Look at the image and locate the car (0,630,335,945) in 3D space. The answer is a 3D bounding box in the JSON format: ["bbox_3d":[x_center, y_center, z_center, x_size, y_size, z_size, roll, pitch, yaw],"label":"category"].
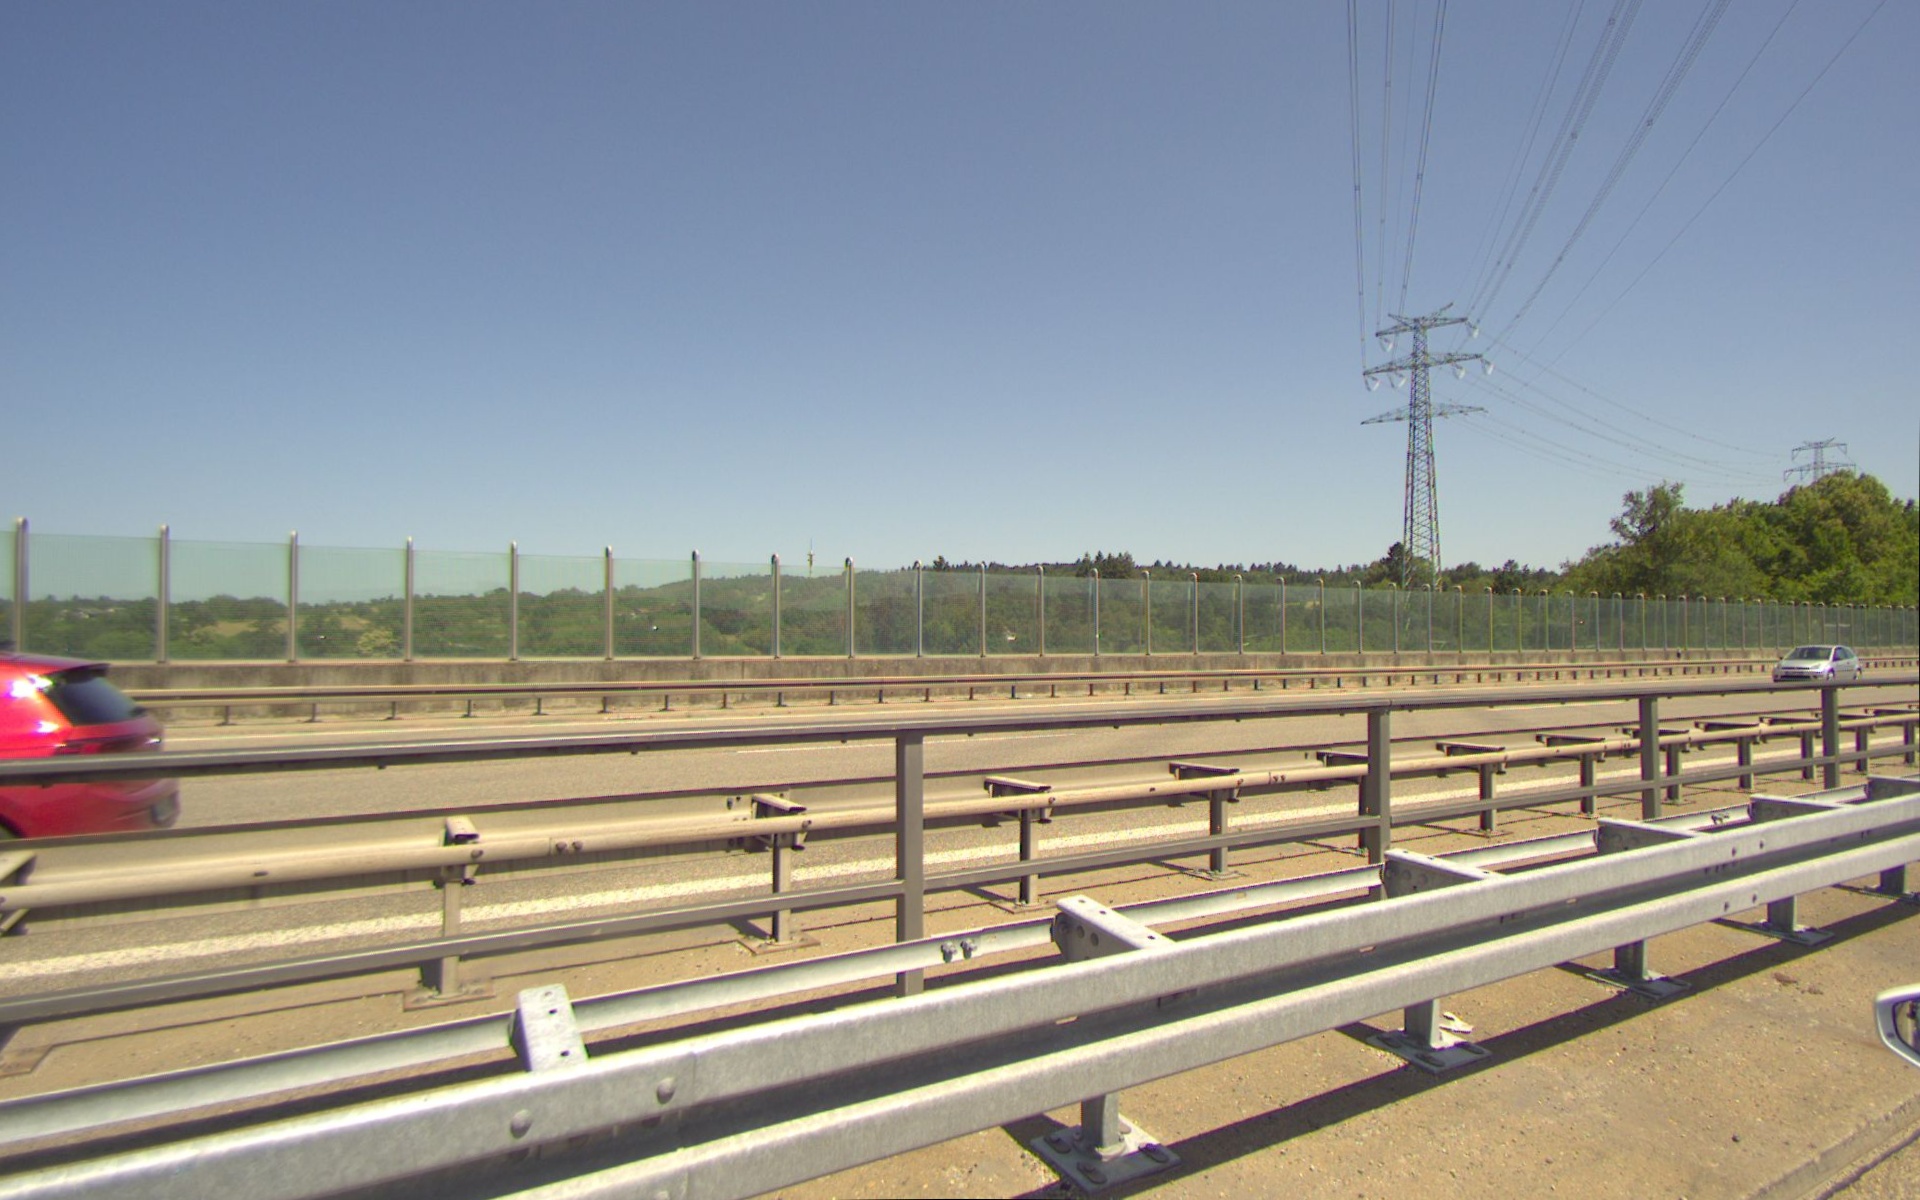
[{"bbox_3d":[-5.898,0.915,5.243,4.368,1.466,1.833,2,0,-31],"label":"car"}]

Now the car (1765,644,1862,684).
[{"bbox_3d":[31.445,2.329,36.983,3.633,1.412,1.597,1,-3,-31],"label":"car"}]
